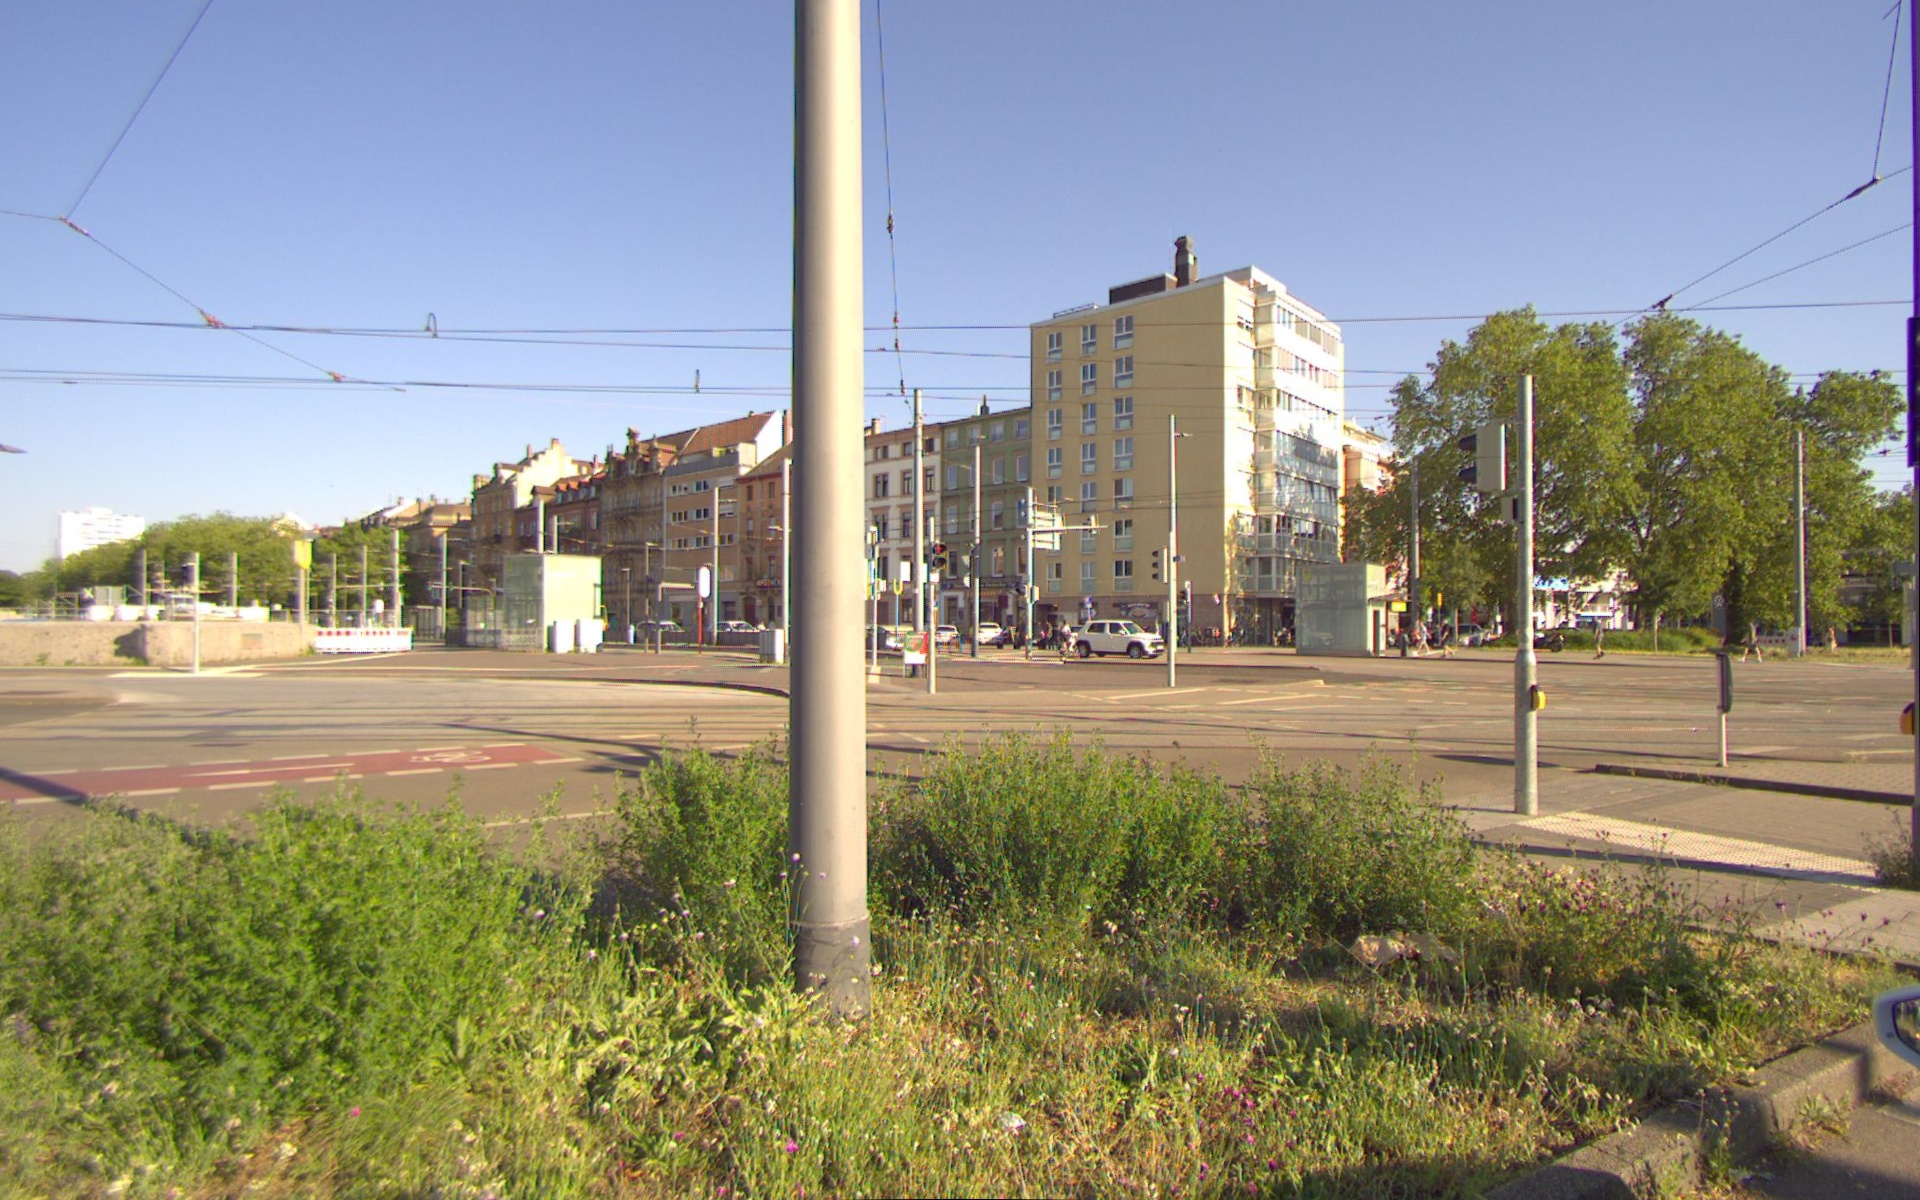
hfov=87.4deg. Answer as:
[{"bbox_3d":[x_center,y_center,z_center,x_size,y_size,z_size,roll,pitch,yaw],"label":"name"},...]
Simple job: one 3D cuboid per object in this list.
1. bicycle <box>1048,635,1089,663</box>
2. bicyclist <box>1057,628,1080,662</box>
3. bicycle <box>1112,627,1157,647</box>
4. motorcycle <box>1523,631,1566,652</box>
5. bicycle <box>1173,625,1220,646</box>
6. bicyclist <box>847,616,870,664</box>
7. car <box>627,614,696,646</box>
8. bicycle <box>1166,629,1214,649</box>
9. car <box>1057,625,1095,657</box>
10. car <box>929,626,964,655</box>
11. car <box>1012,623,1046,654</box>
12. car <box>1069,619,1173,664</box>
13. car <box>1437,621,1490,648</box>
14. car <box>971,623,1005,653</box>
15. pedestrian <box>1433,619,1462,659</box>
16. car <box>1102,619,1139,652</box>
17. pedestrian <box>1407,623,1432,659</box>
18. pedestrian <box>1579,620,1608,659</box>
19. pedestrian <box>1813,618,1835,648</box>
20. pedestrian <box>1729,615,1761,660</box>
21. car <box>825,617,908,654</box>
[{"bbox_3d":[4.398,1.961,40.594,0.617,1.104,1.914,2,0,44],"label":"bicycle"},{"bbox_3d":[4.378,1.811,40.568,0.617,1.368,0.658,2,0,44],"label":"bicyclist"},{"bbox_3d":[11.471,2.400,66.103,3.003,1.167,0.637,1,0,44],"label":"bicycle"},{"bbox_3d":[29.145,2.058,50.116,1.753,0.926,0.676,2,0,41],"label":"motorcycle"},{"bbox_3d":[14.963,2.246,63.697,3.003,1.167,0.637,1,0,44],"label":"bicycle"},{"bbox_3d":[-3.718,1.438,36.791,0.653,1.706,0.980,2,0,2],"label":"bicyclist"},{"bbox_3d":[-19.404,1.916,65.148,4.837,1.849,1.990,2,0,41],"label":"car"},{"bbox_3d":[14.446,2.442,63.213,3.003,1.167,0.637,1,0,44],"label":"bicycle"},{"bbox_3d":[6.822,2.379,59.300,1.960,1.728,4.001,2,0,4],"label":"car"},{"bbox_3d":[-0.850,2.651,66.346,1.960,1.728,4.001,2,0,4],"label":"car"},{"bbox_3d":[4.215,2.313,61.493,1.960,1.728,4.001,2,0,4],"label":"car"},{"bbox_3d":[6.722,1.692,42.057,3.936,1.684,1.779,2,0,37],"label":"car"},{"bbox_3d":[32.010,2.203,63.816,3.973,1.588,1.753,2,0,-44],"label":"car"},{"bbox_3d":[1.804,2.390,63.899,1.960,1.728,4.001,2,0,4],"label":"car"},{"bbox_3d":[21.306,1.707,43.900,0.747,1.728,0.793,2,0,-22],"label":"pedestrian"},{"bbox_3d":[9.142,1.991,57.497,1.684,1.728,4.001,2,0,4],"label":"car"},{"bbox_3d":[22.590,1.994,49.428,0.747,1.728,0.793,2,0,-22],"label":"pedestrian"},{"bbox_3d":[28.615,1.785,45.374,0.747,1.728,0.793,2,0,-22],"label":"pedestrian"},{"bbox_3d":[50.614,1.955,58.865,0.491,1.716,0.852,2,0,-32],"label":"pedestrian"},{"bbox_3d":[34.185,1.641,43.746,0.747,1.911,0.793,2,0,-22],"label":"pedestrian"},{"bbox_3d":[-4.910,1.810,52.288,1.775,1.684,4.657,2,0,-45],"label":"car"}]
